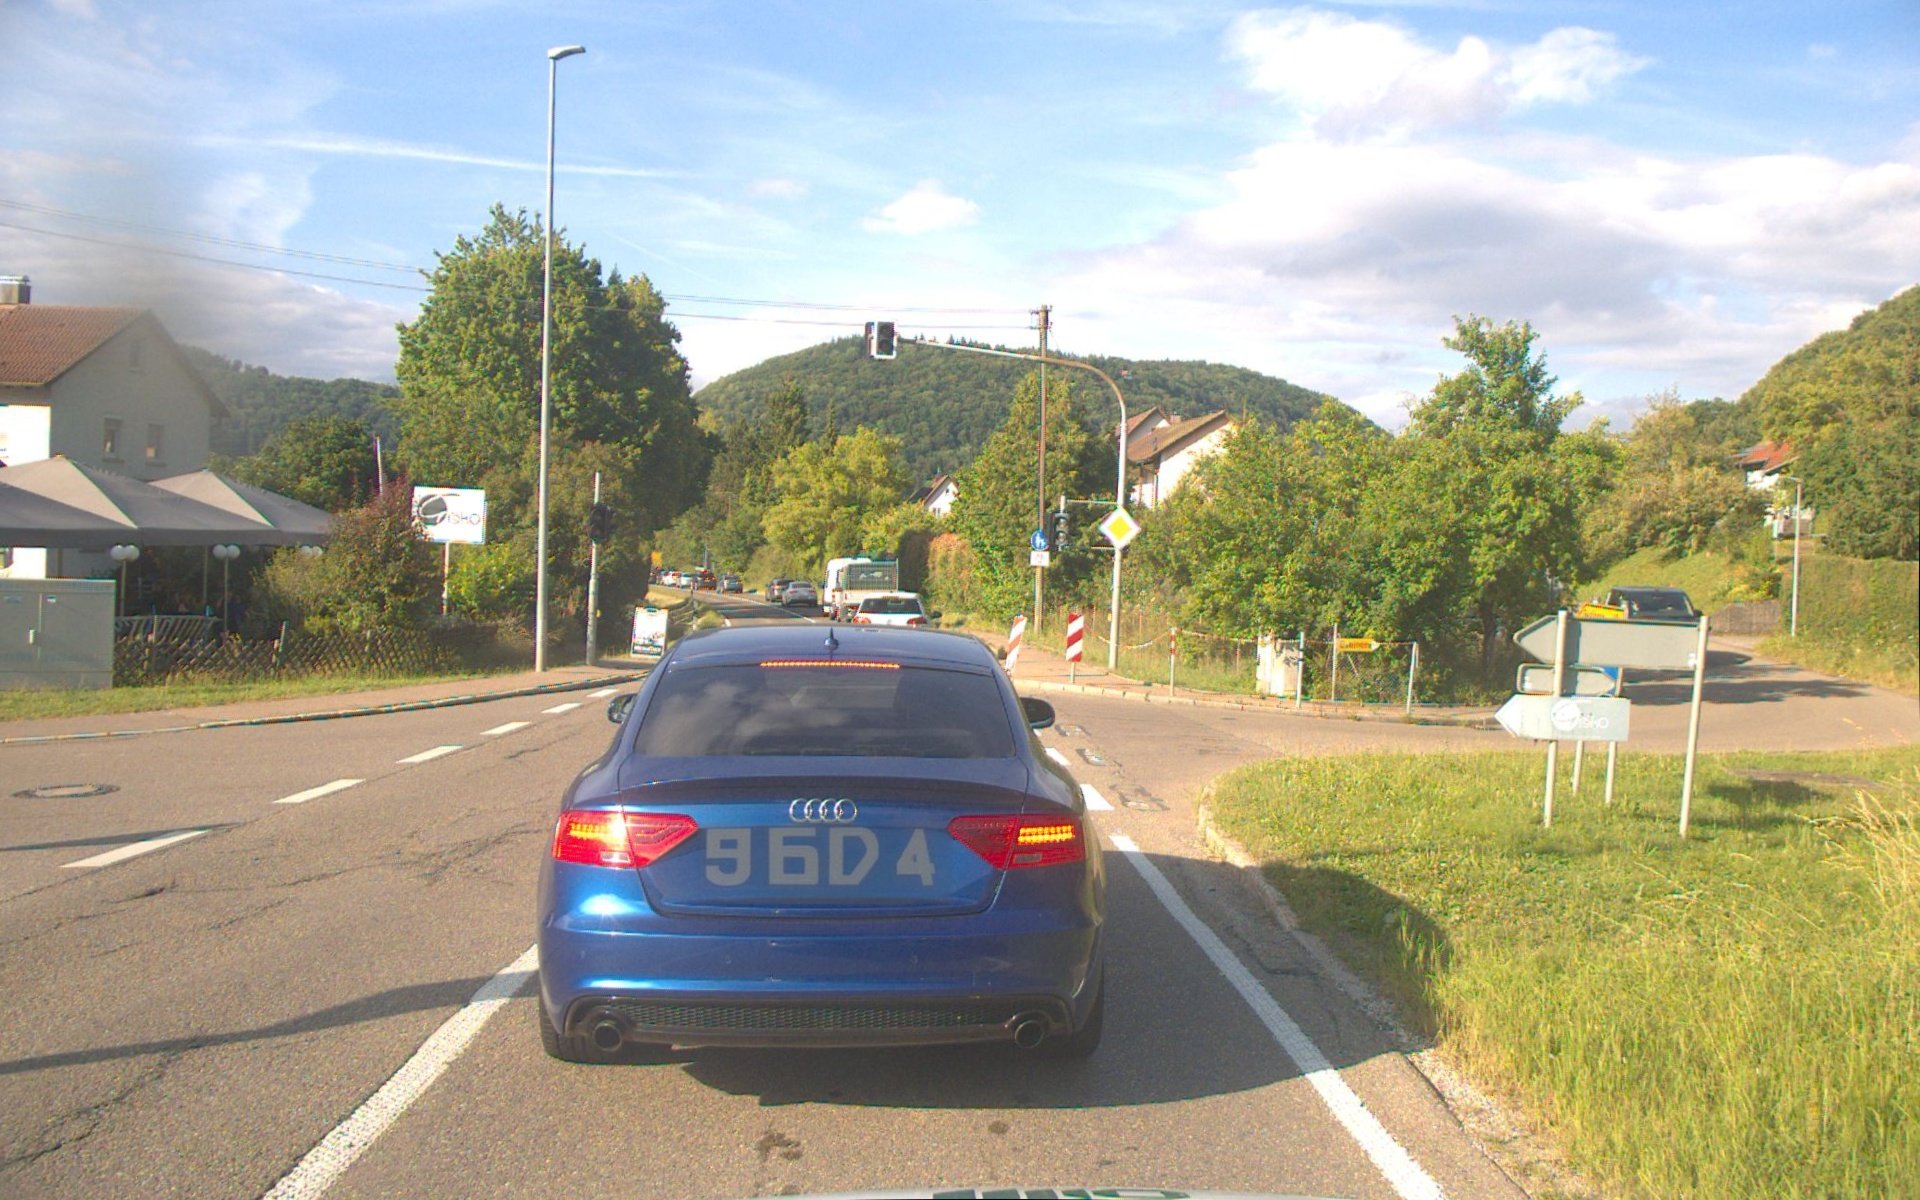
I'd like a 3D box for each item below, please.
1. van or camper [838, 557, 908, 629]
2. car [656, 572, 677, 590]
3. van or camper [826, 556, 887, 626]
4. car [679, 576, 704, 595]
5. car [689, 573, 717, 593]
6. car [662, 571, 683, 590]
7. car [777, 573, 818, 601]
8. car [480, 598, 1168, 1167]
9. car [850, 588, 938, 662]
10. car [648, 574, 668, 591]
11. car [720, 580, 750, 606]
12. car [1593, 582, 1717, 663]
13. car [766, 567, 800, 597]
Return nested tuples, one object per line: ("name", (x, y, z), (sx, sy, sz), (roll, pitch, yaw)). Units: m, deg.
("van or camper", (-3.146, -0.283, 58.562), (2.138, 2.426, 5.362), (0, 1, -7))
("car", (-30.277, -1.932, 170.705), (1.743, 1.814, 3.983), (0, 1, -16))
("van or camper", (-4.651, -0.415, 73.165), (2.369, 2.955, 6.123), (0, 1, -7))
("car", (-25.329, -1.352, 156.169), (1.910, 1.713, 3.983), (0, 1, -16))
("car", (-22.992, -1.535, 147.671), (2.007, 1.713, 3.983), (0, 1, -16))
("car", (-28.661, -1.949, 164.812), (1.720, 1.814, 3.983), (0, 1, -16))
("car", (-9.331, -0.759, 94.821), (1.789, 1.579, 3.986), (0, 1, -14))
("car", (-0.433, 0.731, 6.452), (1.793, 1.433, 4.225), (0, 1, -2))
("car", (-1.423, 0.495, 35.645), (1.736, 1.439, 4.172), (2, 0, -2))
("car", (-32.383, -1.919, 177.178), (1.743, 1.814, 3.983), (0, 1, -16))
("car", (-18.216, -0.585, 133.552), (1.960, 2.049, 3.984), (0, 0, -15))
("car", (18.145, 0.523, 43.408), (1.951, 1.909, 4.875), (3, 1, 11))
("car", (-11.380, -1.155, 106.018), (1.765, 1.825, 3.988), (0, 1, -12))
